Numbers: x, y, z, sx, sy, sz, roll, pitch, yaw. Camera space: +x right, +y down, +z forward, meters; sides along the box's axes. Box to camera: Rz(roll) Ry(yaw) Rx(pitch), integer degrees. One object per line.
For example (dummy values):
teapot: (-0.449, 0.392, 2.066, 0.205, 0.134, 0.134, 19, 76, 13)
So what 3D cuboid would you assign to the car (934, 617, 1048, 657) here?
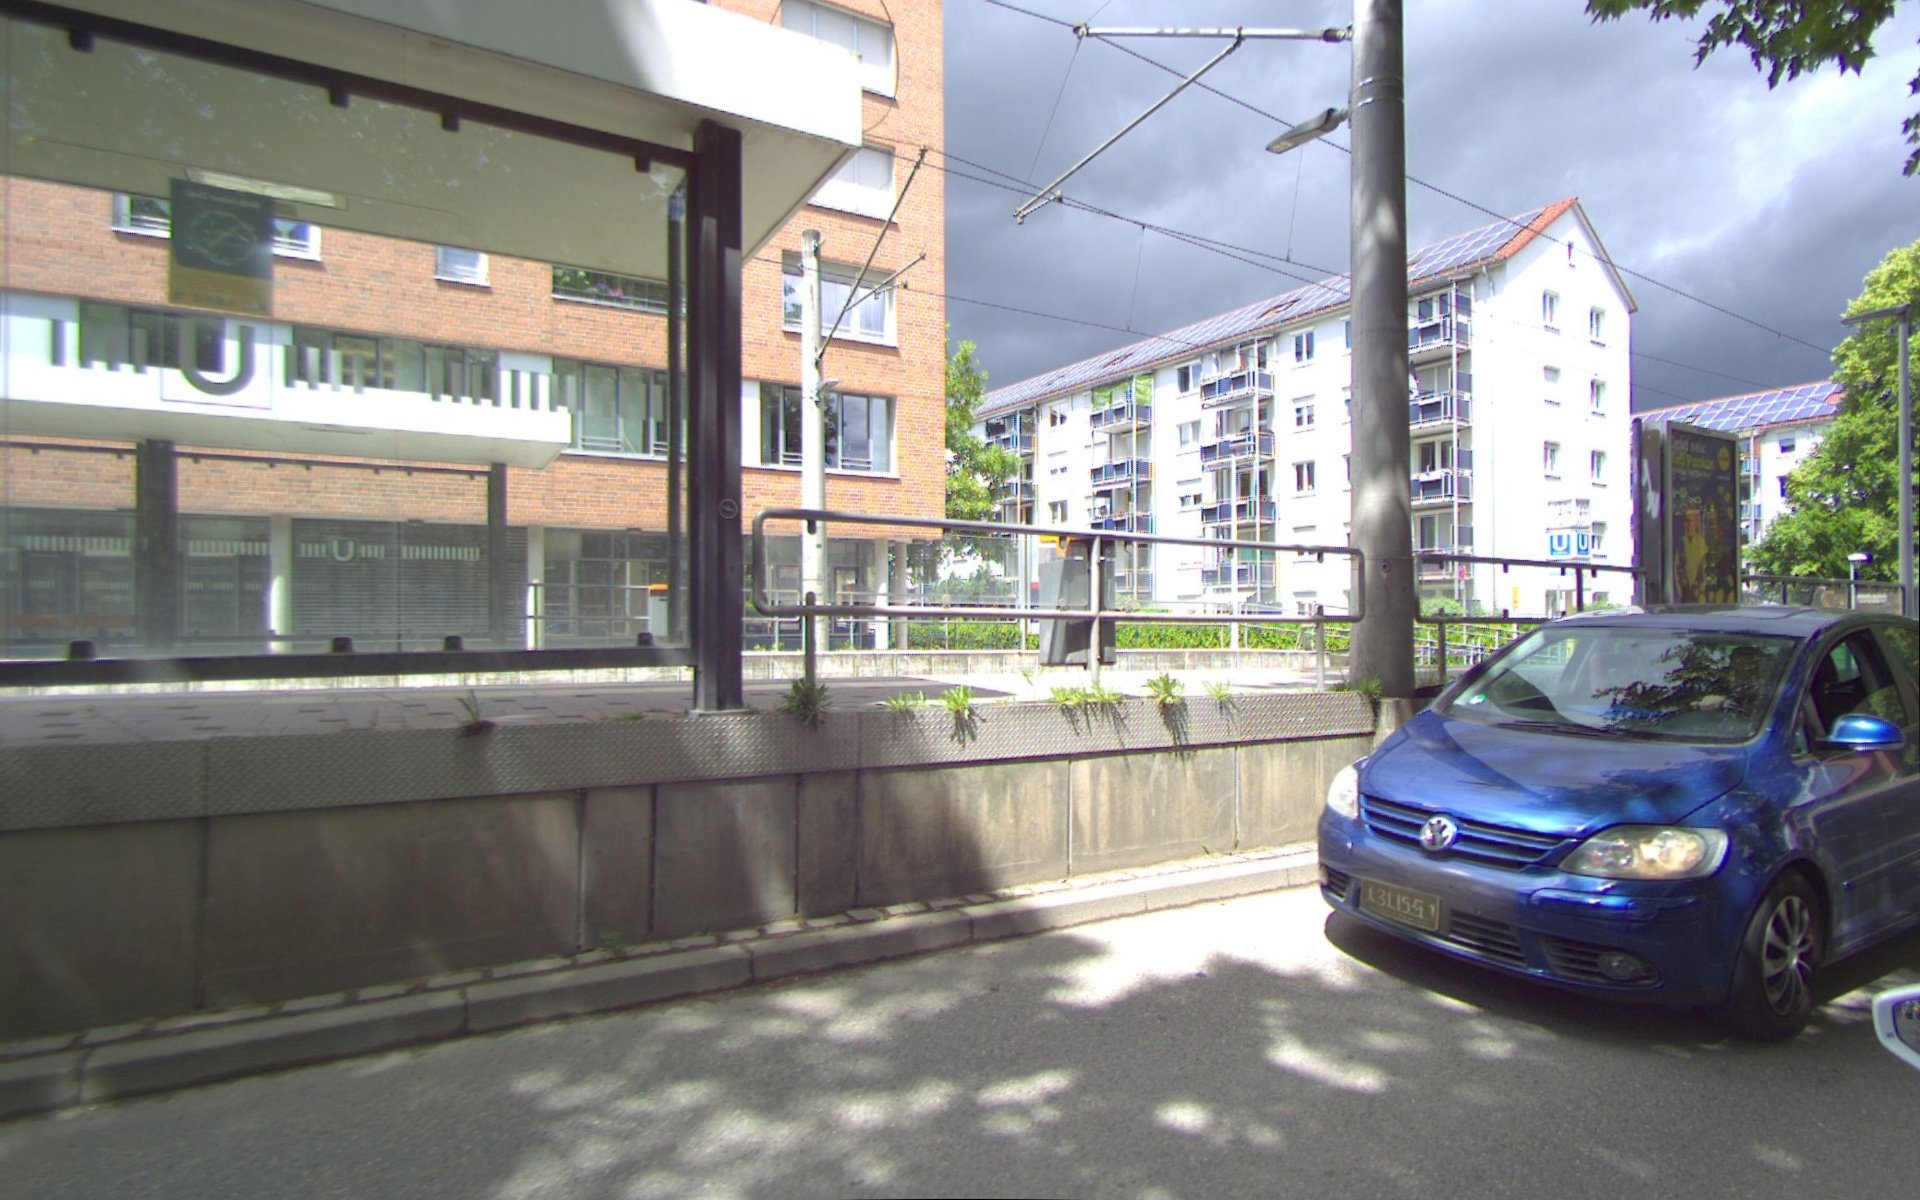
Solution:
car: (1.173, 1.381, 37.933, 3.948, 1.445, 1.837, 1, -2, -27)

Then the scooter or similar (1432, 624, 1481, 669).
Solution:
scooter or similar: (14.381, 1.344, 29.111, 0.458, 1.270, 1.295, 0, -1, -20)

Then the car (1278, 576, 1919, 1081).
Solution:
car: (3.530, 0.773, 4.875, 3.816, 1.585, 1.688, 2, -1, -31)
